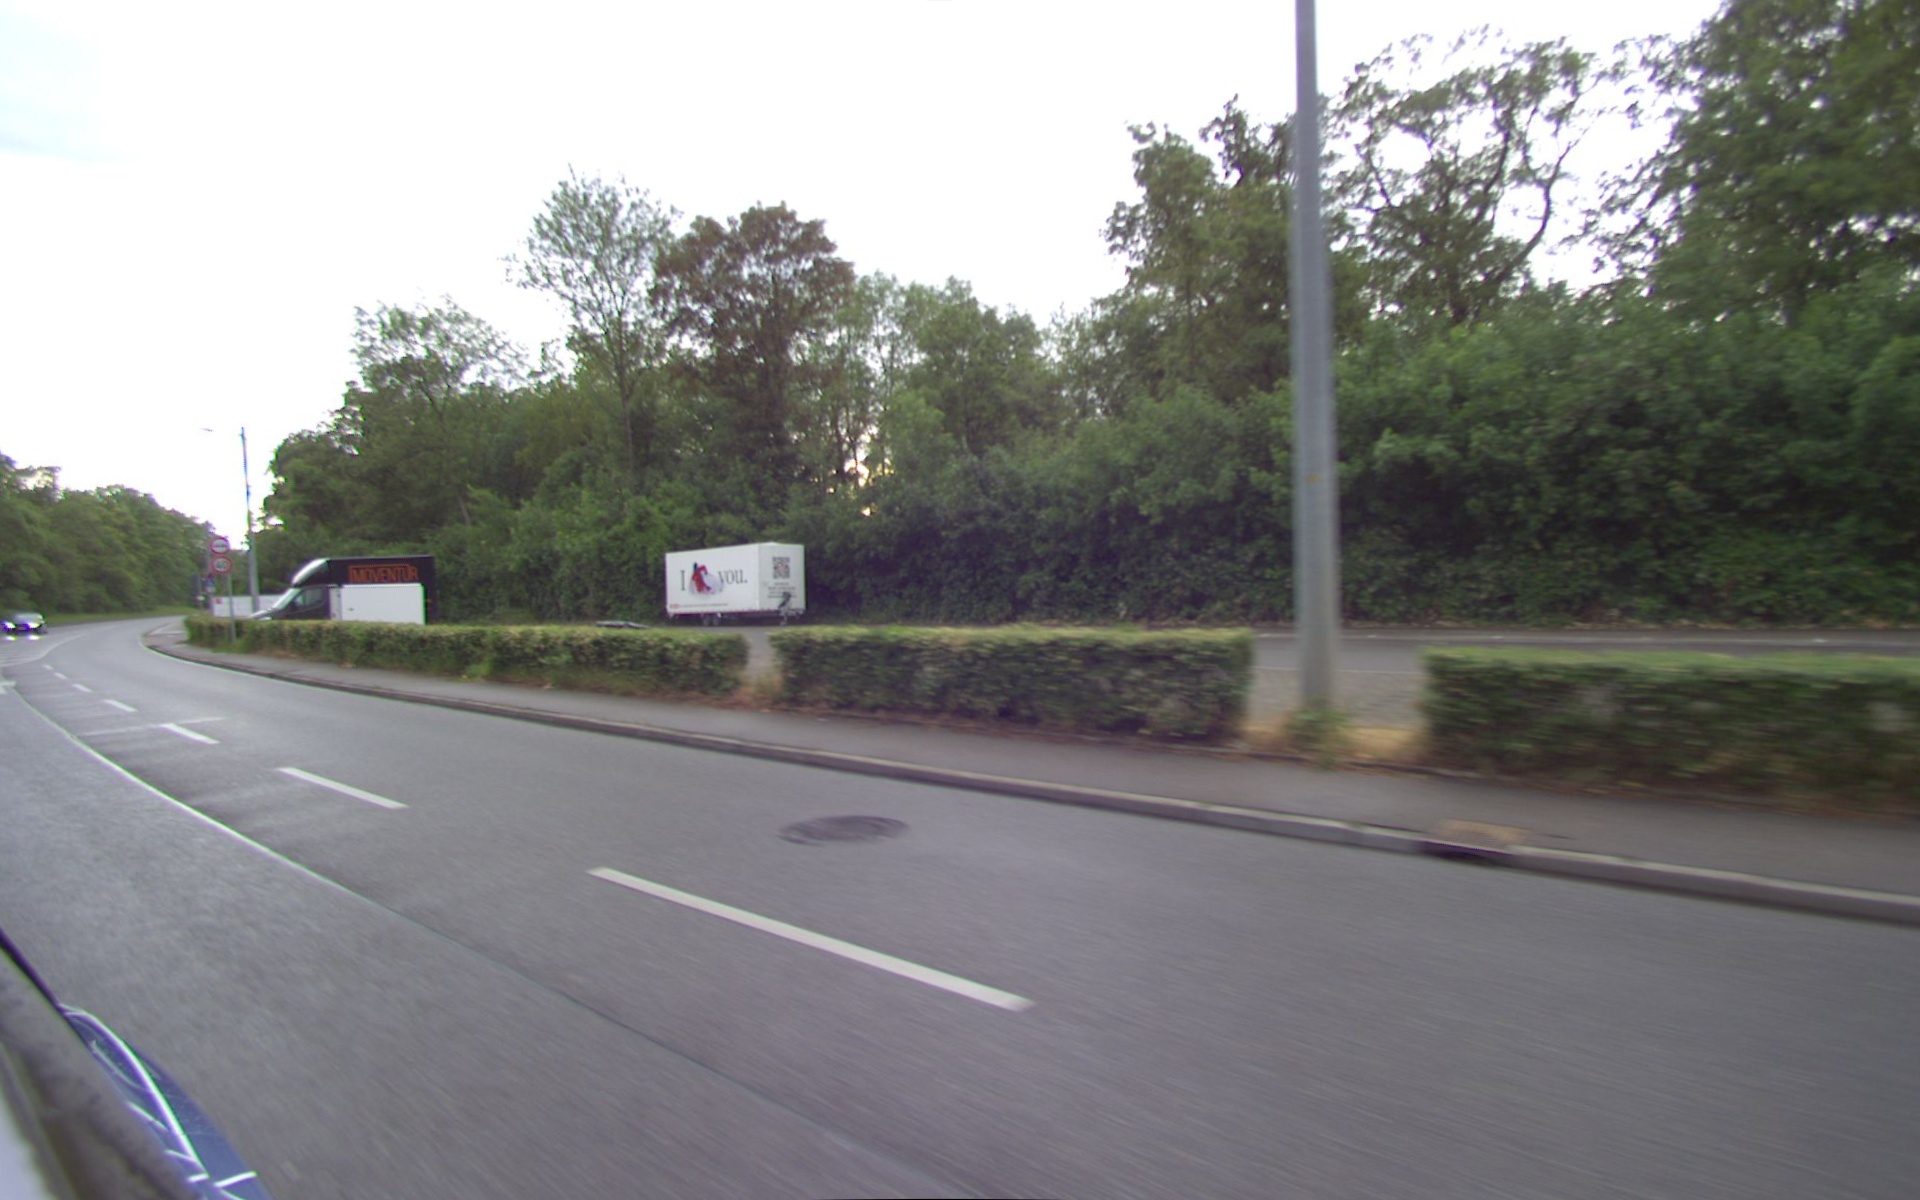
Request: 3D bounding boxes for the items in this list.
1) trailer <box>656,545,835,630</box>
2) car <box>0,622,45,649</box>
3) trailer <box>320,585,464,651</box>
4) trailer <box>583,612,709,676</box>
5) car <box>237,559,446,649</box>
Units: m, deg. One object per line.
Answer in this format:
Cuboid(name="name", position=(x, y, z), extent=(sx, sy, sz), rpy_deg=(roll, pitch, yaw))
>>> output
Cuboid(name="trailer", position=(-8.204, -0.401, 37.966), extent=(7.977, 2.895, 2.449), rpy_deg=(-1, 0, 43))
Cuboid(name="car", position=(-63.123, 2.362, 68.044), extent=(1.968, 1.696, 4.009), rpy_deg=(-1, 1, -37))
Cuboid(name="trailer", position=(-19.344, 0.570, 34.562), extent=(3.941, 2.068, 1.874), rpy_deg=(-2, 0, -44))
Cuboid(name="trailer", position=(-5.831, 0.794, 18.829), extent=(1.333, 1.042, 1.783), rpy_deg=(-1, 1, 40))
Cuboid(name="car", position=(-23.285, 0.040, 38.336), extent=(2.752, 3.136, 6.204), rpy_deg=(0, 2, 43))
